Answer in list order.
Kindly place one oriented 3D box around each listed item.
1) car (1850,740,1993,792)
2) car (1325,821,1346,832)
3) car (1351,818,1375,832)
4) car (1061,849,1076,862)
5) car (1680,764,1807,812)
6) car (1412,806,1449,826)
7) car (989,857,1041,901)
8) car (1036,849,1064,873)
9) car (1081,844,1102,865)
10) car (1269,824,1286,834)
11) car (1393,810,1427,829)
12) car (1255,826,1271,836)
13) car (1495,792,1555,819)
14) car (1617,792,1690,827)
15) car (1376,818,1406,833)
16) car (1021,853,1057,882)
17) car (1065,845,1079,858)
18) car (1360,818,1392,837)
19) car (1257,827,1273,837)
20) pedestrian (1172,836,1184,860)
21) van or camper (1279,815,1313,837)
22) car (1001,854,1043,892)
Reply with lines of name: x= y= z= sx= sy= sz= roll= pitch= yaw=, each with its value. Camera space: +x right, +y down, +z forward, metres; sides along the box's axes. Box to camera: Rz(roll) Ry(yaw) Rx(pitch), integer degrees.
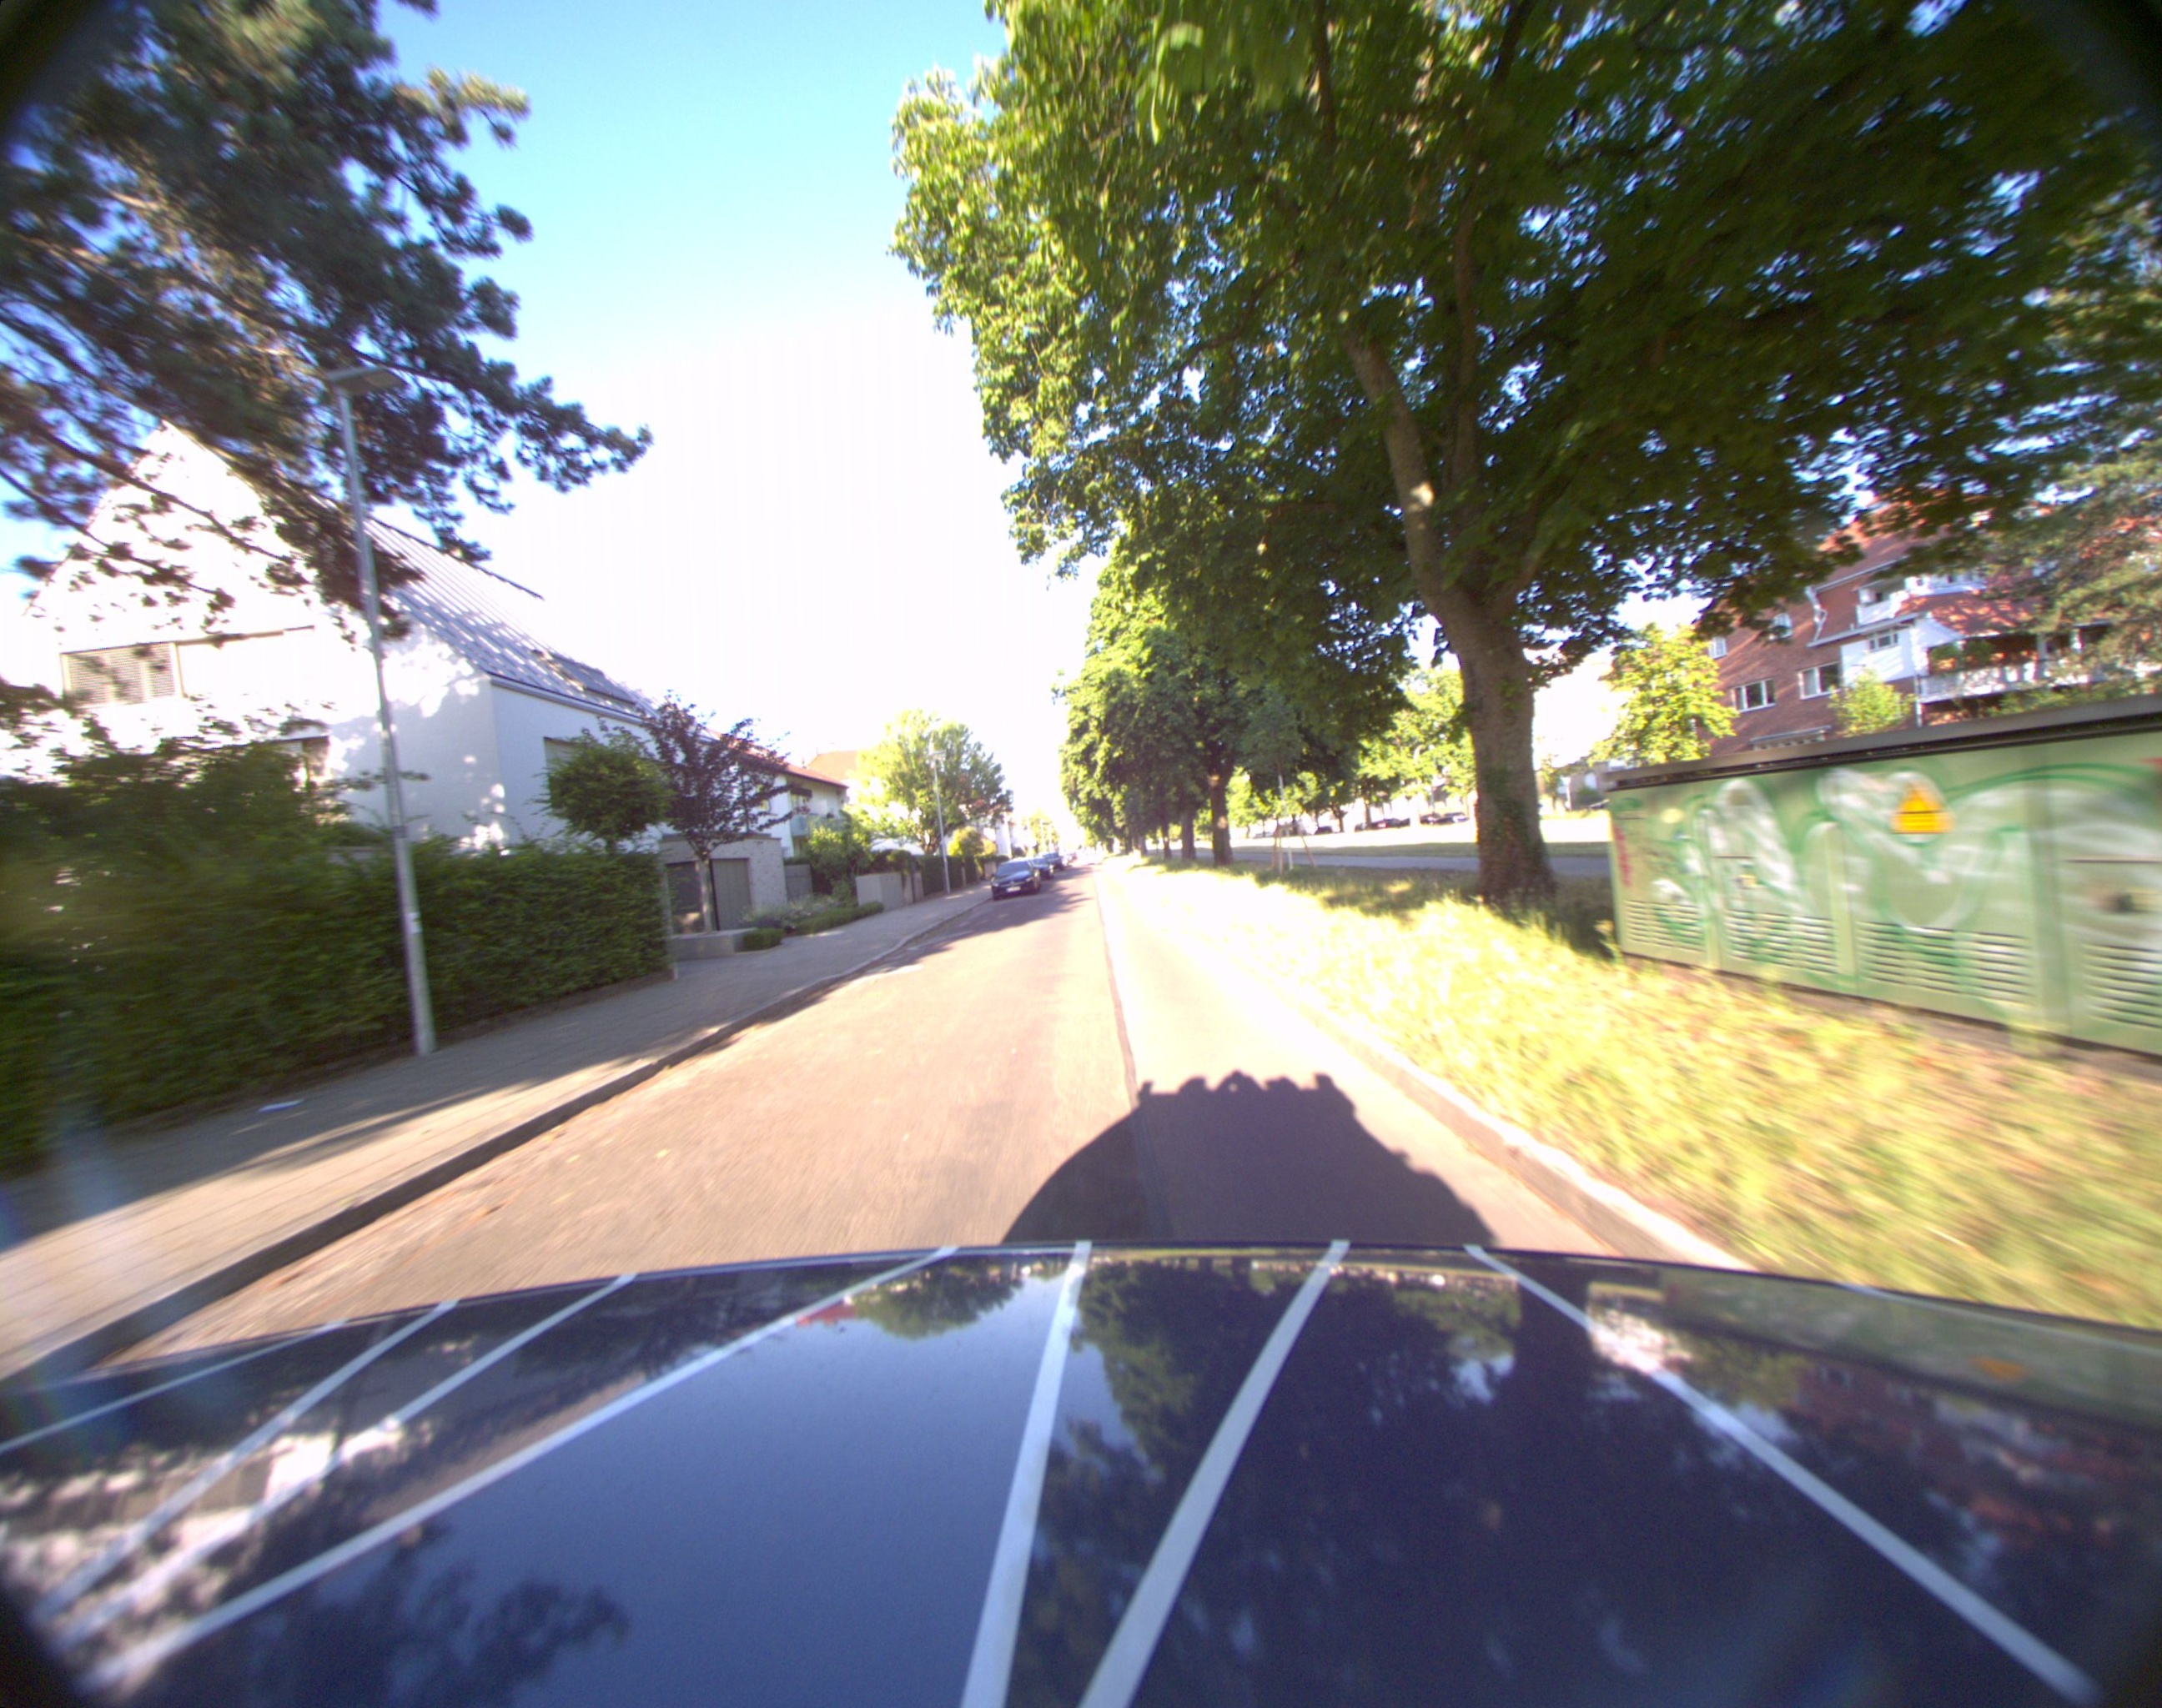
car: x=39.794 y=-4.126 z=36.161 sx=1.821 sy=1.827 sz=4.408 roll=-6 pitch=1 yaw=1
car: x=41.385 y=-4.503 z=123.475 sx=1.998 sy=1.455 sz=4.000 roll=-5 pitch=0 yaw=0
car: x=40.824 y=-4.207 z=109.936 sx=1.998 sy=1.724 sz=4.001 roll=-6 pitch=0 yaw=3
car: x=-1.750 y=0.243 z=105.625 sx=1.784 sy=1.490 sz=4.397 roll=-8 pitch=0 yaw=-1
car: x=34.257 y=-3.351 z=39.527 sx=1.998 sy=1.929 sz=5.245 roll=-6 pitch=1 yaw=2
car: x=40.420 y=-4.362 z=87.973 sx=1.998 sy=2.002 sz=4.876 roll=-6 pitch=0 yaw=2
car: x=-2.637 y=0.959 z=31.268 sx=1.753 sy=1.468 sz=4.287 roll=-7 pitch=0 yaw=-2
car: x=-2.666 y=0.545 z=66.229 sx=1.999 sy=1.727 sz=4.863 roll=-9 pitch=0 yaw=-1
car: x=1.176 y=0.000 z=82.237 sx=1.998 sy=2.002 sz=4.000 roll=-6 pitch=0 yaw=1
car: x=41.602 y=-5.313 z=160.848 sx=1.999 sy=1.680 sz=4.875 roll=-6 pitch=0 yaw=-1
car: x=40.648 y=-4.263 z=93.988 sx=1.999 sy=2.002 sz=4.428 roll=-6 pitch=0 yaw=-1
car: x=36.089 y=-4.495 z=151.043 sx=1.998 sy=1.680 sz=4.876 roll=-6 pitch=0 yaw=1
car: x=34.459 y=-3.754 z=59.101 sx=1.824 sy=1.630 sz=4.650 roll=-6 pitch=0 yaw=1
car: x=40.211 y=-3.102 z=53.485 sx=1.761 sy=2.002 sz=4.369 roll=-6 pitch=0 yaw=1
car: x=40.631 y=-3.712 z=99.746 sx=1.999 sy=1.643 sz=4.429 roll=-6 pitch=0 yaw=-1
car: x=-2.517 y=0.765 z=46.781 sx=1.798 sy=1.483 sz=4.674 roll=-6 pitch=1 yaw=0
car: x=-1.501 y=-0.434 z=124.840 sx=1.862 sy=1.710 sz=4.467 roll=-11 pitch=0 yaw=-1
car: x=34.976 y=-3.103 z=90.193 sx=1.998 sy=2.002 sz=4.876 roll=-6 pitch=0 yaw=2
car: x=35.215 y=-4.230 z=145.581 sx=1.998 sy=1.680 sz=4.876 roll=-6 pitch=0 yaw=1
pedestrian: x=7.443 y=-0.467 z=58.343 sx=0.726 sy=1.748 sz=0.993 roll=-6 pitch=1 yaw=7
van or camper: x=35.471 y=-4.607 z=125.635 sx=3.262 sy=3.092 sz=7.897 roll=-6 pitch=0 yaw=1
car: x=-2.787 y=0.889 z=36.589 sx=1.695 sy=1.474 sz=3.928 roll=-10 pitch=0 yaw=-3
